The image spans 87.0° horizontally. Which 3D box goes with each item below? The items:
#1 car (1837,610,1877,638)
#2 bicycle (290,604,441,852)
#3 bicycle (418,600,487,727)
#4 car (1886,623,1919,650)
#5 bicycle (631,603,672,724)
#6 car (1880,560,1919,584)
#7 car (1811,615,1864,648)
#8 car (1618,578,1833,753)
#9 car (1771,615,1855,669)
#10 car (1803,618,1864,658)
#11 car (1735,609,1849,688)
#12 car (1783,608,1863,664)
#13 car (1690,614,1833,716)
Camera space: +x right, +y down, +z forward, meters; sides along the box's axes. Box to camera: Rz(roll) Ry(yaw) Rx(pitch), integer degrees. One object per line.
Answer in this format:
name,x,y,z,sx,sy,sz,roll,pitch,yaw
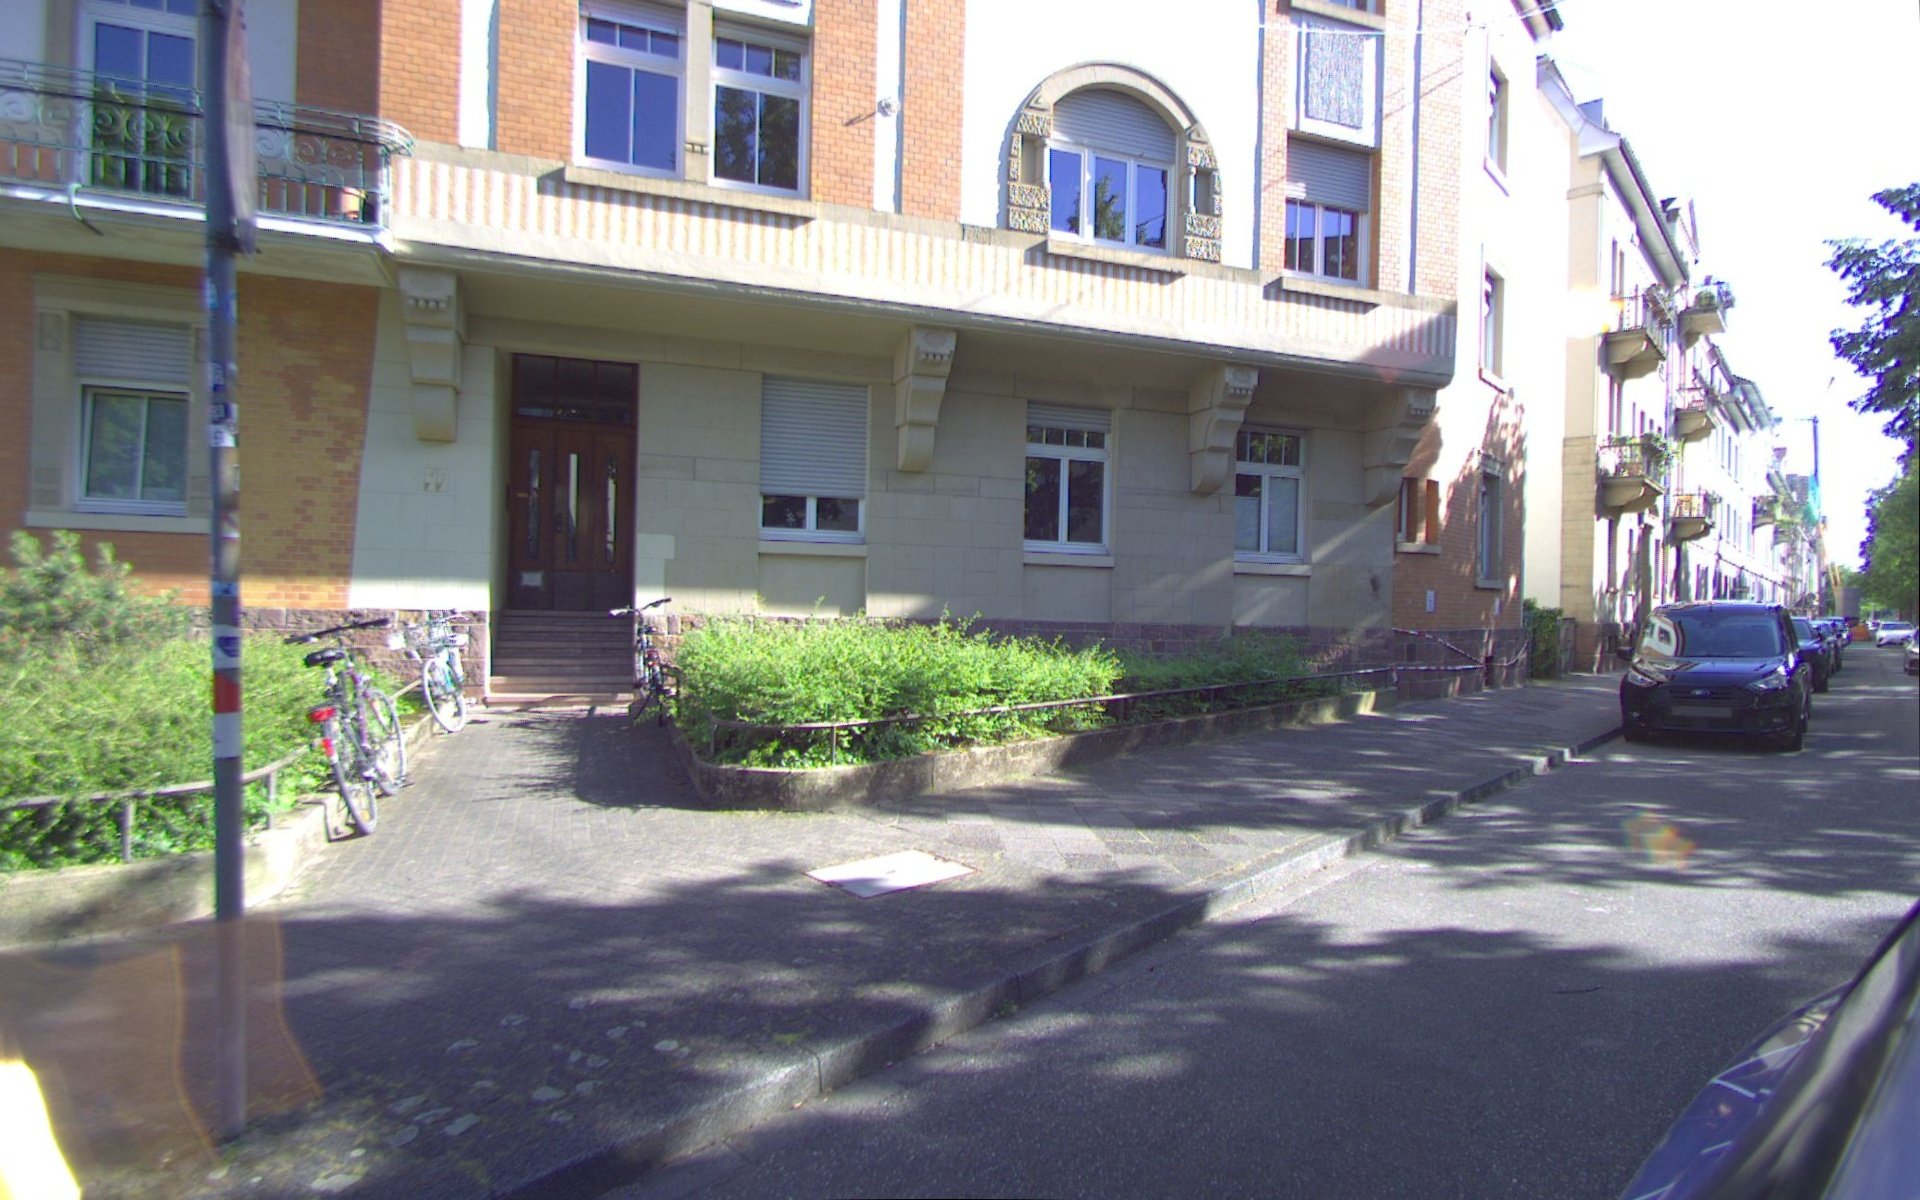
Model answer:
car,51.957,1.367,58.590,1.599,1.511,3.904,3,2,43
bicycle,-3.479,0.633,6.066,0.380,1.174,2.234,1,0,-21
bicycle,-4.770,0.552,9.566,0.380,1.074,1.687,1,0,-21
car,54.497,2.061,58.260,1.605,1.438,4.499,1,0,41
bicycle,-3.059,0.581,9.999,0.265,1.074,1.567,1,0,-21
car,74.106,-2.216,78.211,1.666,1.546,4.106,1,-4,-17
car,41.448,1.447,47.774,1.769,1.449,4.224,0,-1,42
car,10.069,0.773,13.186,1.800,1.895,4.207,-4,-3,42
car,24.160,1.145,28.627,1.590,1.433,3.574,-2,-2,43
car,34.192,1.453,39.582,1.691,1.487,3.943,-1,-1,42
car,19.288,1.053,23.494,1.861,1.665,4.426,-1,-2,40
car,27.437,1.103,32.177,1.804,1.583,4.256,2,0,41
car,13.943,1.053,17.534,1.644,1.557,3.939,-3,-3,42
